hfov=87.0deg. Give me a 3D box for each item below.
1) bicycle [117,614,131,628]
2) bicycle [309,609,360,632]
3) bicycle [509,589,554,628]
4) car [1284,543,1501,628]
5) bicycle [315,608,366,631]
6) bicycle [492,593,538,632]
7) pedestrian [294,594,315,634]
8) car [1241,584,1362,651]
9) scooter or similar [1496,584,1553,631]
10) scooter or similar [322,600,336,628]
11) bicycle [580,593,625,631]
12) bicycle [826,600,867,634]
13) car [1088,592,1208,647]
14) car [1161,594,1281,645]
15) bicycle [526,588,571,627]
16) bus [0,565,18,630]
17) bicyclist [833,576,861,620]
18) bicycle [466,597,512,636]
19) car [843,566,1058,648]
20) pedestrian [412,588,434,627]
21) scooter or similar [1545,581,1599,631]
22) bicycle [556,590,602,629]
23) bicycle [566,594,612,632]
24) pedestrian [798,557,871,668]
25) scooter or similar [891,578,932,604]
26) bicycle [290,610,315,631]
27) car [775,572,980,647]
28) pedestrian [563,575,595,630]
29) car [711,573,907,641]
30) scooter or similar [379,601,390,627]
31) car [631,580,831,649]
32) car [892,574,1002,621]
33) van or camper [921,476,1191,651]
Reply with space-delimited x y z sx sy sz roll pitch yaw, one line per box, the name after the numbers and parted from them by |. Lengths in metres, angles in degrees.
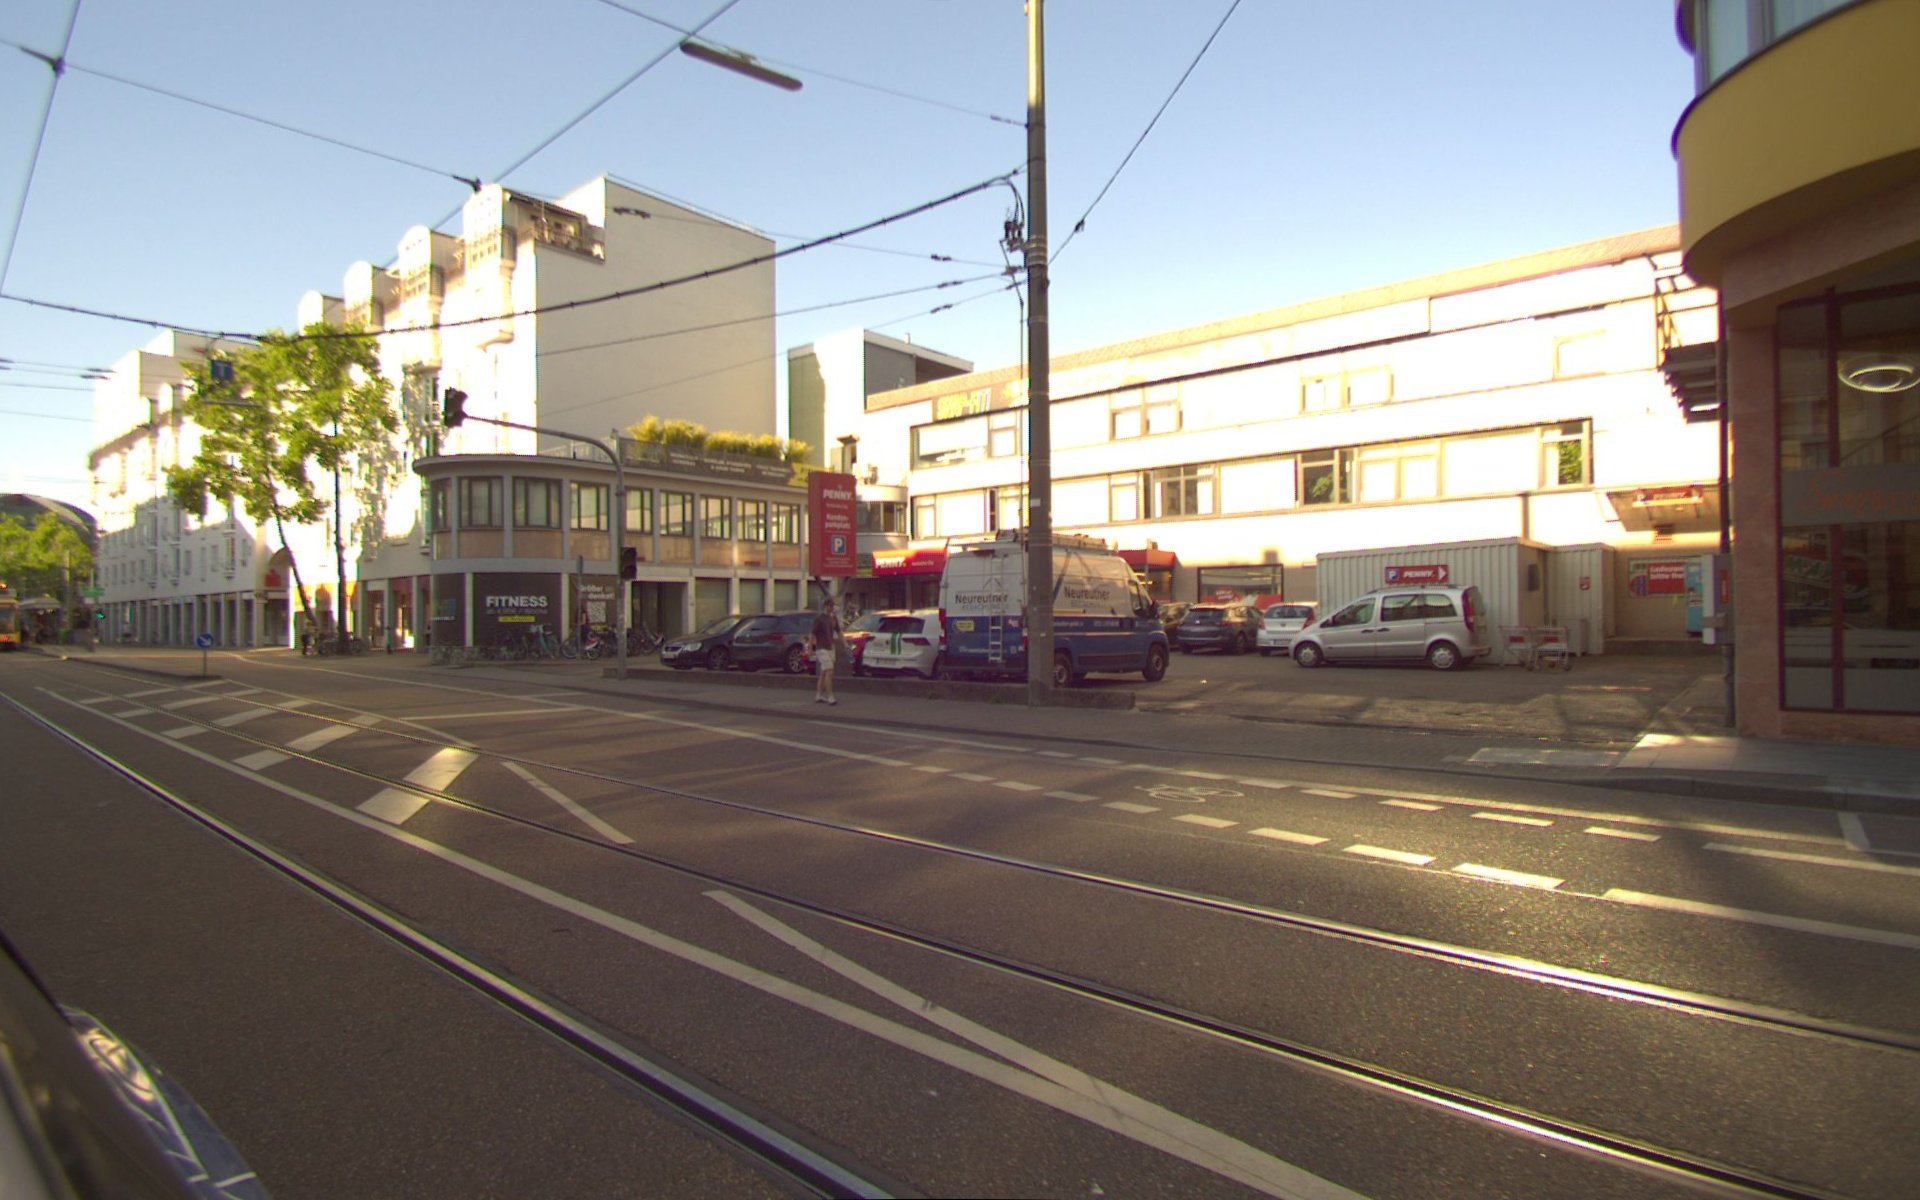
-63.516 1.598 76.887 1.726 0.996 0.512 -1 1 41 | bicycle
-27.832 0.901 45.050 1.824 0.919 0.389 -3 0 -45 | bicycle
-13.487 0.282 31.857 1.828 1.196 0.444 -2 -1 38 | bicycle
9.738 -0.265 22.911 4.116 1.749 1.974 -1 -1 39 | car
-27.082 0.855 44.272 1.824 0.919 0.389 -3 1 -45 | bicycle
-13.963 0.407 31.735 1.827 1.196 0.436 -2 -1 35 | bicycle
-28.875 0.608 44.570 0.621 1.729 0.828 -1 0 -22 | pedestrian
9.544 0.444 28.103 1.997 1.713 3.949 -1 0 38 | car
12.001 0.159 21.499 0.847 0.961 1.274 -2 -1 38 | scooter or similar
-29.977 0.686 48.101 0.373 1.288 1.182 -4 2 -38 | scooter or similar
-11.669 0.411 33.010 1.828 1.196 0.444 -2 -1 38 | bicycle
-4.130 0.604 36.936 0.679 1.179 1.817 -2 -1 23 | bicycle
5.773 0.551 30.773 1.997 1.519 3.949 -1 0 38 | car
7.685 0.533 29.614 1.997 1.364 3.949 -1 0 38 | car
-13.055 0.258 32.102 1.828 1.196 0.439 -2 -1 38 | bicycle
-58.770 -0.017 60.109 13.672 3.594 2.782 -1 0 41 | bus
-4.133 -0.078 36.968 0.687 1.561 0.831 -2 -1 23 | bicyclist
-14.807 0.516 31.813 1.827 1.196 0.442 -2 -1 34 | bicycle
-0.075 0.135 20.631 1.878 1.486 4.541 -2 -1 40 | car
-23.950 0.349 45.151 0.825 1.729 0.623 -1 -1 42 | pedestrian
12.687 0.121 20.967 0.808 0.992 1.257 -2 -1 38 | scooter or similar
-12.103 0.320 32.111 1.828 1.196 0.444 -2 -1 38 | bicycle
-11.891 0.420 32.405 1.828 1.196 0.444 -2 -1 38 | bicycle
-2.148 0.217 17.344 0.908 1.846 0.825 -2 -1 40 | pedestrian
-1.836 -0.332 38.372 1.246 0.968 0.904 -1 0 39 | scooter or similar
-28.727 0.898 44.220 1.850 0.919 0.384 -1 1 41 | bicycle
-1.728 0.199 22.522 1.878 1.486 4.541 -2 -1 40 | car
-12.069 0.089 32.028 0.682 1.710 0.674 -2 -1 38 | pedestrian
-3.520 0.158 24.347 1.878 1.486 4.541 -2 -1 40 | car
-25.247 0.630 44.390 0.330 1.120 1.184 -1 0 -27 | scooter or similar
-5.754 0.340 25.977 1.878 1.595 4.844 -2 -1 40 | car
-0.372 -0.070 35.398 1.870 1.486 4.560 -2 -1 28 | car
2.007 -0.576 19.313 2.314 2.848 5.548 -2 -1 41 | van or camper
